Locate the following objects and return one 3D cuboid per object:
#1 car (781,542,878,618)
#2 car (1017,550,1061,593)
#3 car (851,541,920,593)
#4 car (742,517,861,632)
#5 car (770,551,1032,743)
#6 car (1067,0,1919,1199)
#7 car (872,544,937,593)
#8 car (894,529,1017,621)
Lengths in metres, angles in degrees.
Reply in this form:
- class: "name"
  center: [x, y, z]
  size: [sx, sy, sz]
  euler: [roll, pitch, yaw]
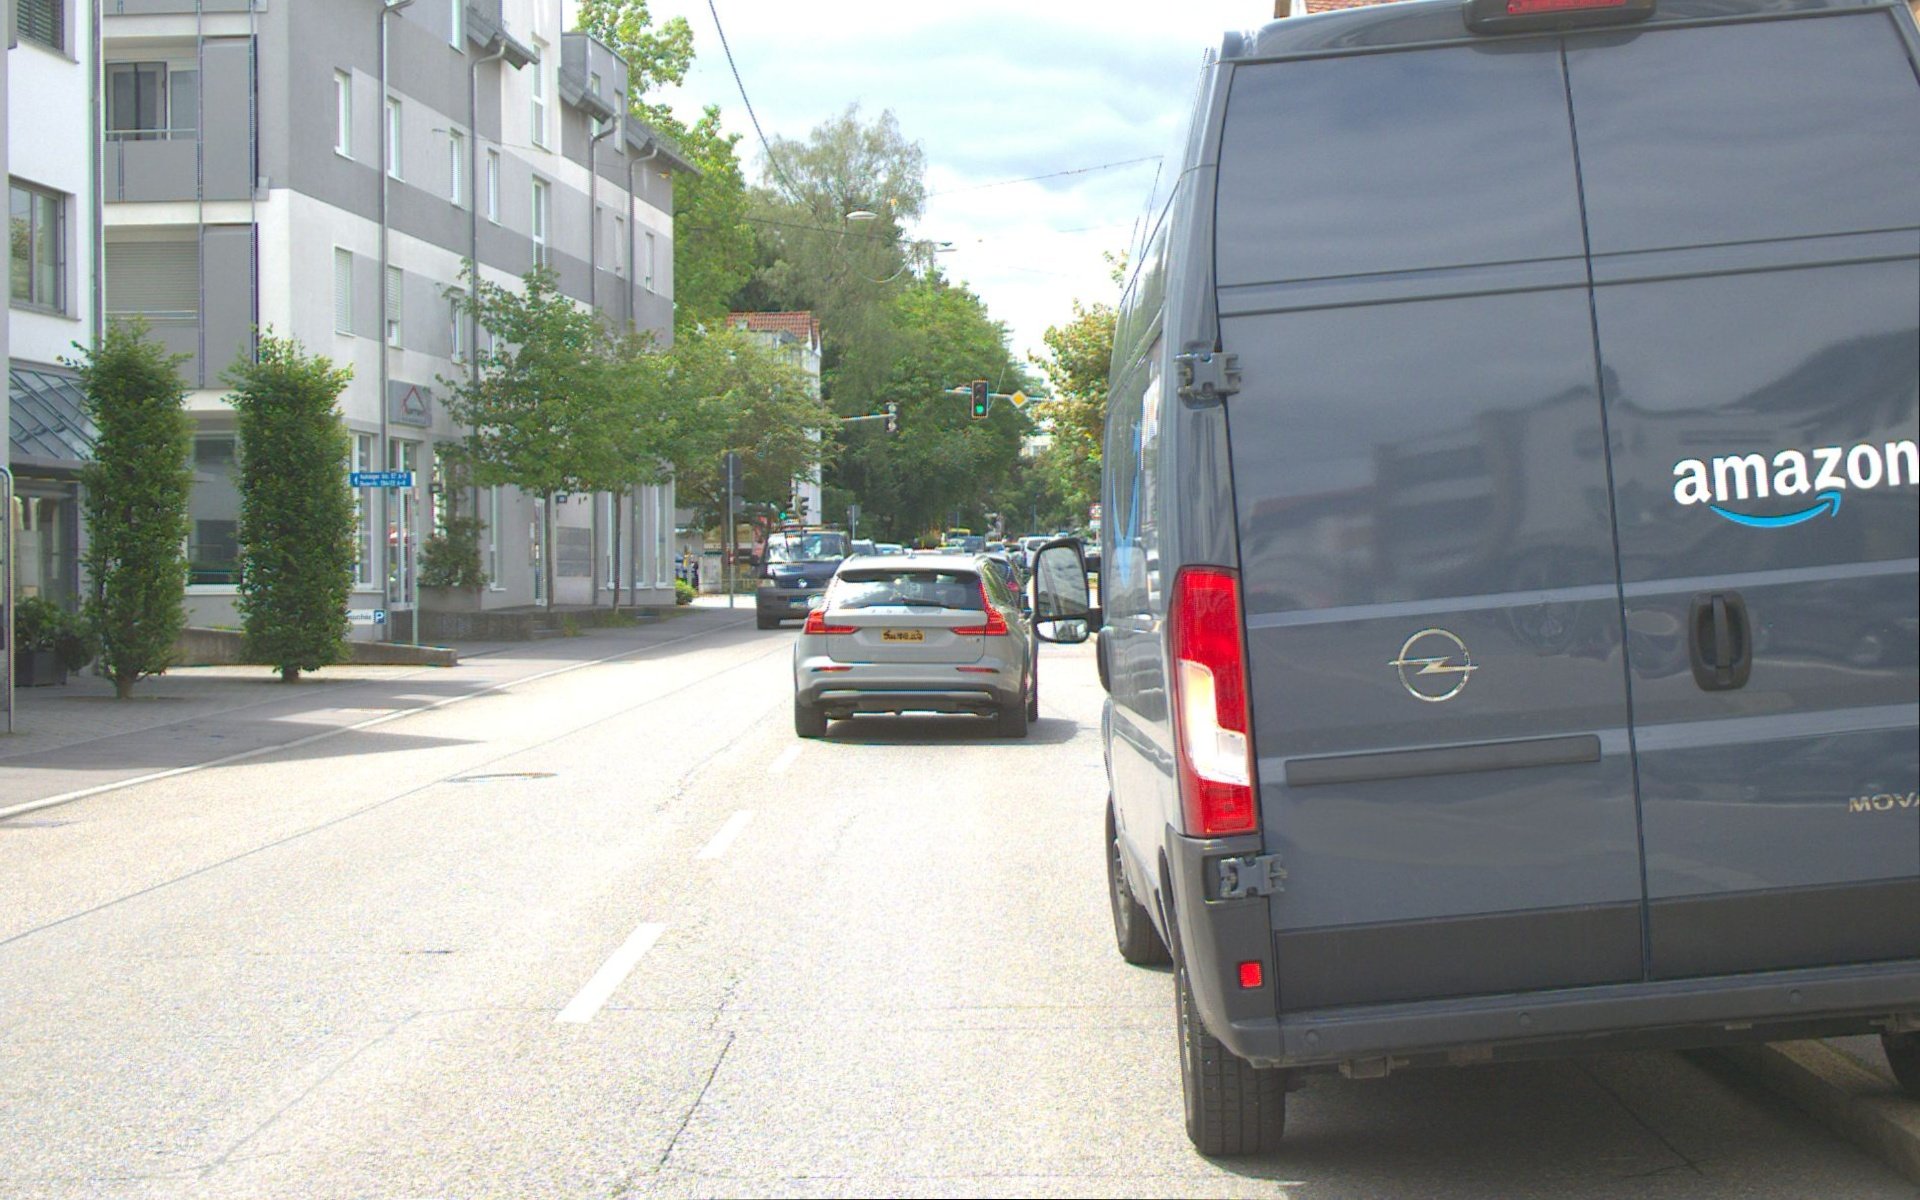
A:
- class: "car"
  center: [-3.016, -0.487, 80.452]
  size: [2.105, 1.704, 4.766]
  euler: [-1, 1, 0]
- class: "car"
  center: [3.728, -1.351, 161.491]
  size: [1.993, 2.007, 4.000]
  euler: [0, 1, 2]
- class: "car"
  center: [-2.310, -1.046, 107.818]
  size: [2.105, 1.590, 4.650]
  euler: [-1, 1, 0]
- class: "car"
  center: [-3.108, -0.534, 68.422]
  size: [2.105, 2.114, 4.766]
  euler: [-3, 1, 0]
- class: "car"
  center: [-0.414, 0.334, 28.490]
  size: [1.896, 1.448, 3.968]
  euler: [-1, 1, 3]
- class: "car"
  center: [1.507, -0.049, 10.213]
  size: [2.252, 2.786, 5.569]
  euler: [-1, 1, 1]
- class: "car"
  center: [-1.846, -1.071, 115.391]
  size: [2.105, 1.590, 4.650]
  euler: [-1, 1, 0]
- class: "car"
  center: [-0.046, -0.437, 56.962]
  size: [1.896, 1.441, 3.968]
  euler: [-1, 1, 2]
